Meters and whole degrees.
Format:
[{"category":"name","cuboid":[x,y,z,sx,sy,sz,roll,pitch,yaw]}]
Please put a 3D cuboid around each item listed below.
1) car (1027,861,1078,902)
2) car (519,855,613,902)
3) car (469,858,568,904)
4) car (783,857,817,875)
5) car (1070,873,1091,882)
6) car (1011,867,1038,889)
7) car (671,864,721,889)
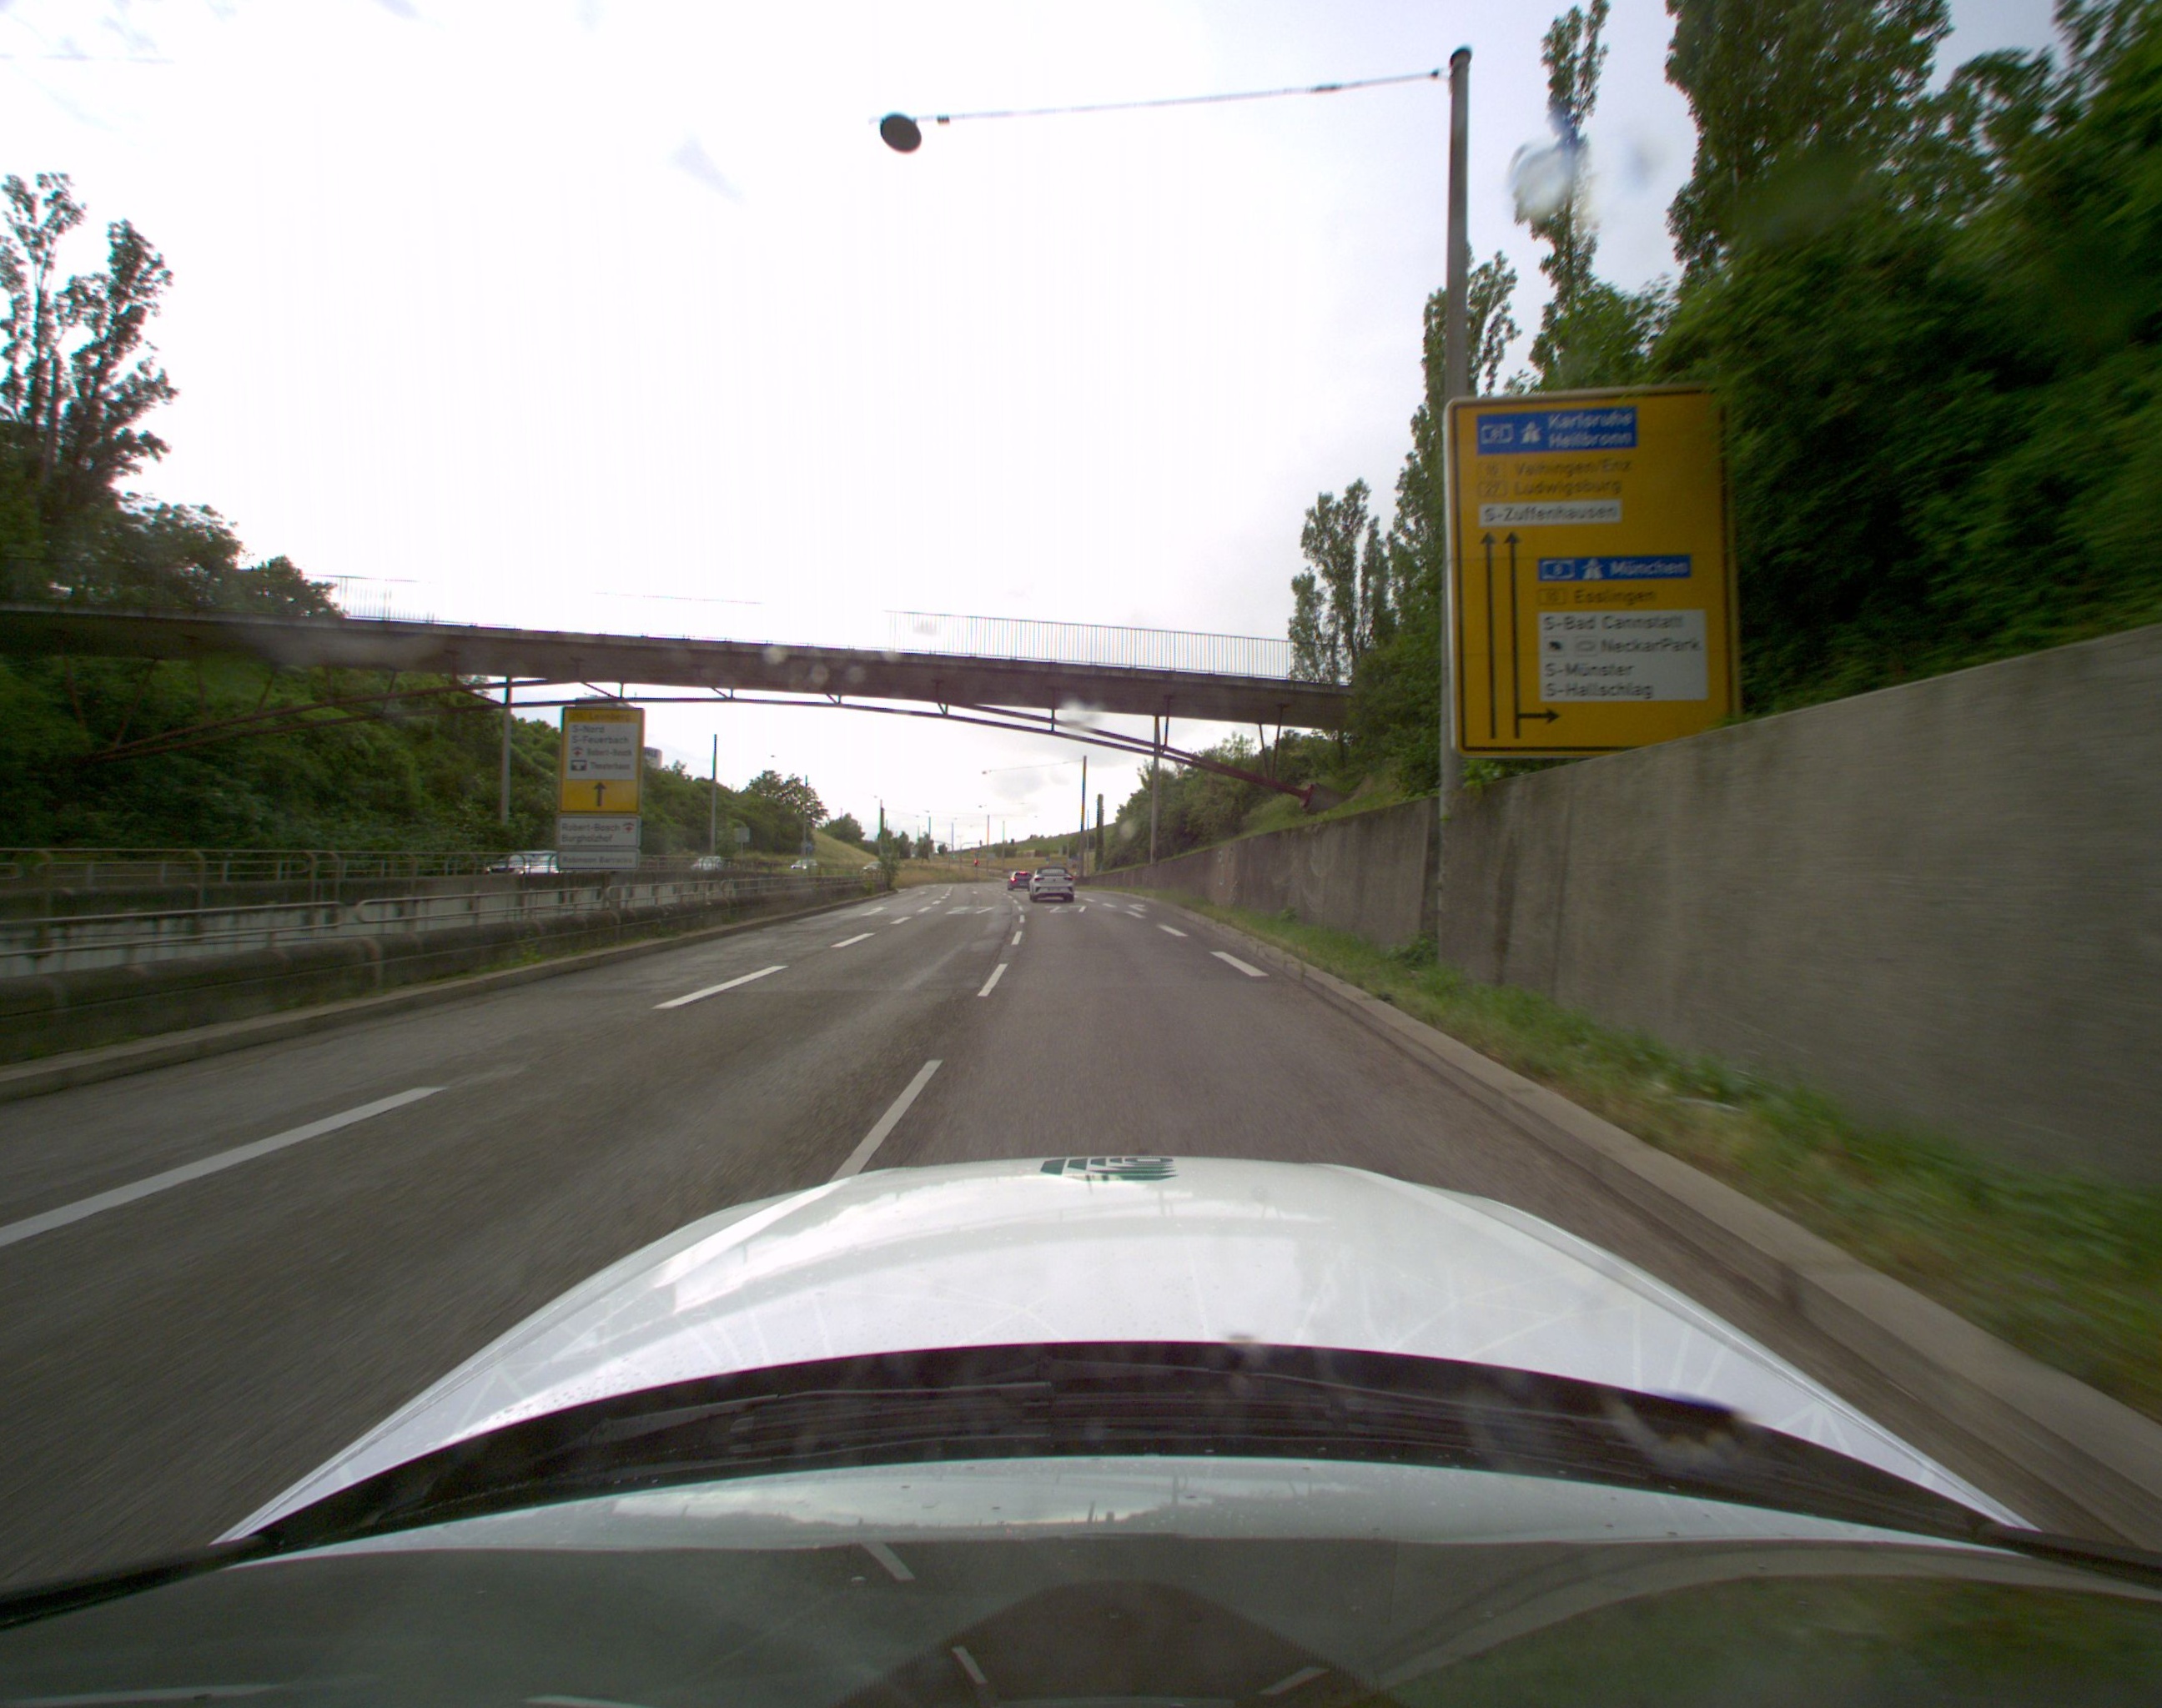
[{"category":"car","cuboid":[-1.299,1.154,35.772,1.993,1.578,4.118,-2,0,-5]},{"category":"car","cuboid":[-21.416,0.974,34.045,1.669,1.830,3.991,-2,0,-6]},{"category":"car","cuboid":[-24.990,1.170,36.370,1.669,1.916,4.548,-1,-1,-7]},{"category":"car","cuboid":[-28.994,1.282,84.084,1.988,1.835,4.626,1,-2,-2]},{"category":"car","cuboid":[-0.061,4.641,160.193,2.007,1.712,4.516,0,-1,-33]},{"category":"car","cuboid":[-4.263,1.838,61.146,1.923,1.599,4.054,1,-3,-4]},{"category":"car","cuboid":[-28.473,1.635,60.419,1.992,1.721,4.691,-2,-1,-8]}]
